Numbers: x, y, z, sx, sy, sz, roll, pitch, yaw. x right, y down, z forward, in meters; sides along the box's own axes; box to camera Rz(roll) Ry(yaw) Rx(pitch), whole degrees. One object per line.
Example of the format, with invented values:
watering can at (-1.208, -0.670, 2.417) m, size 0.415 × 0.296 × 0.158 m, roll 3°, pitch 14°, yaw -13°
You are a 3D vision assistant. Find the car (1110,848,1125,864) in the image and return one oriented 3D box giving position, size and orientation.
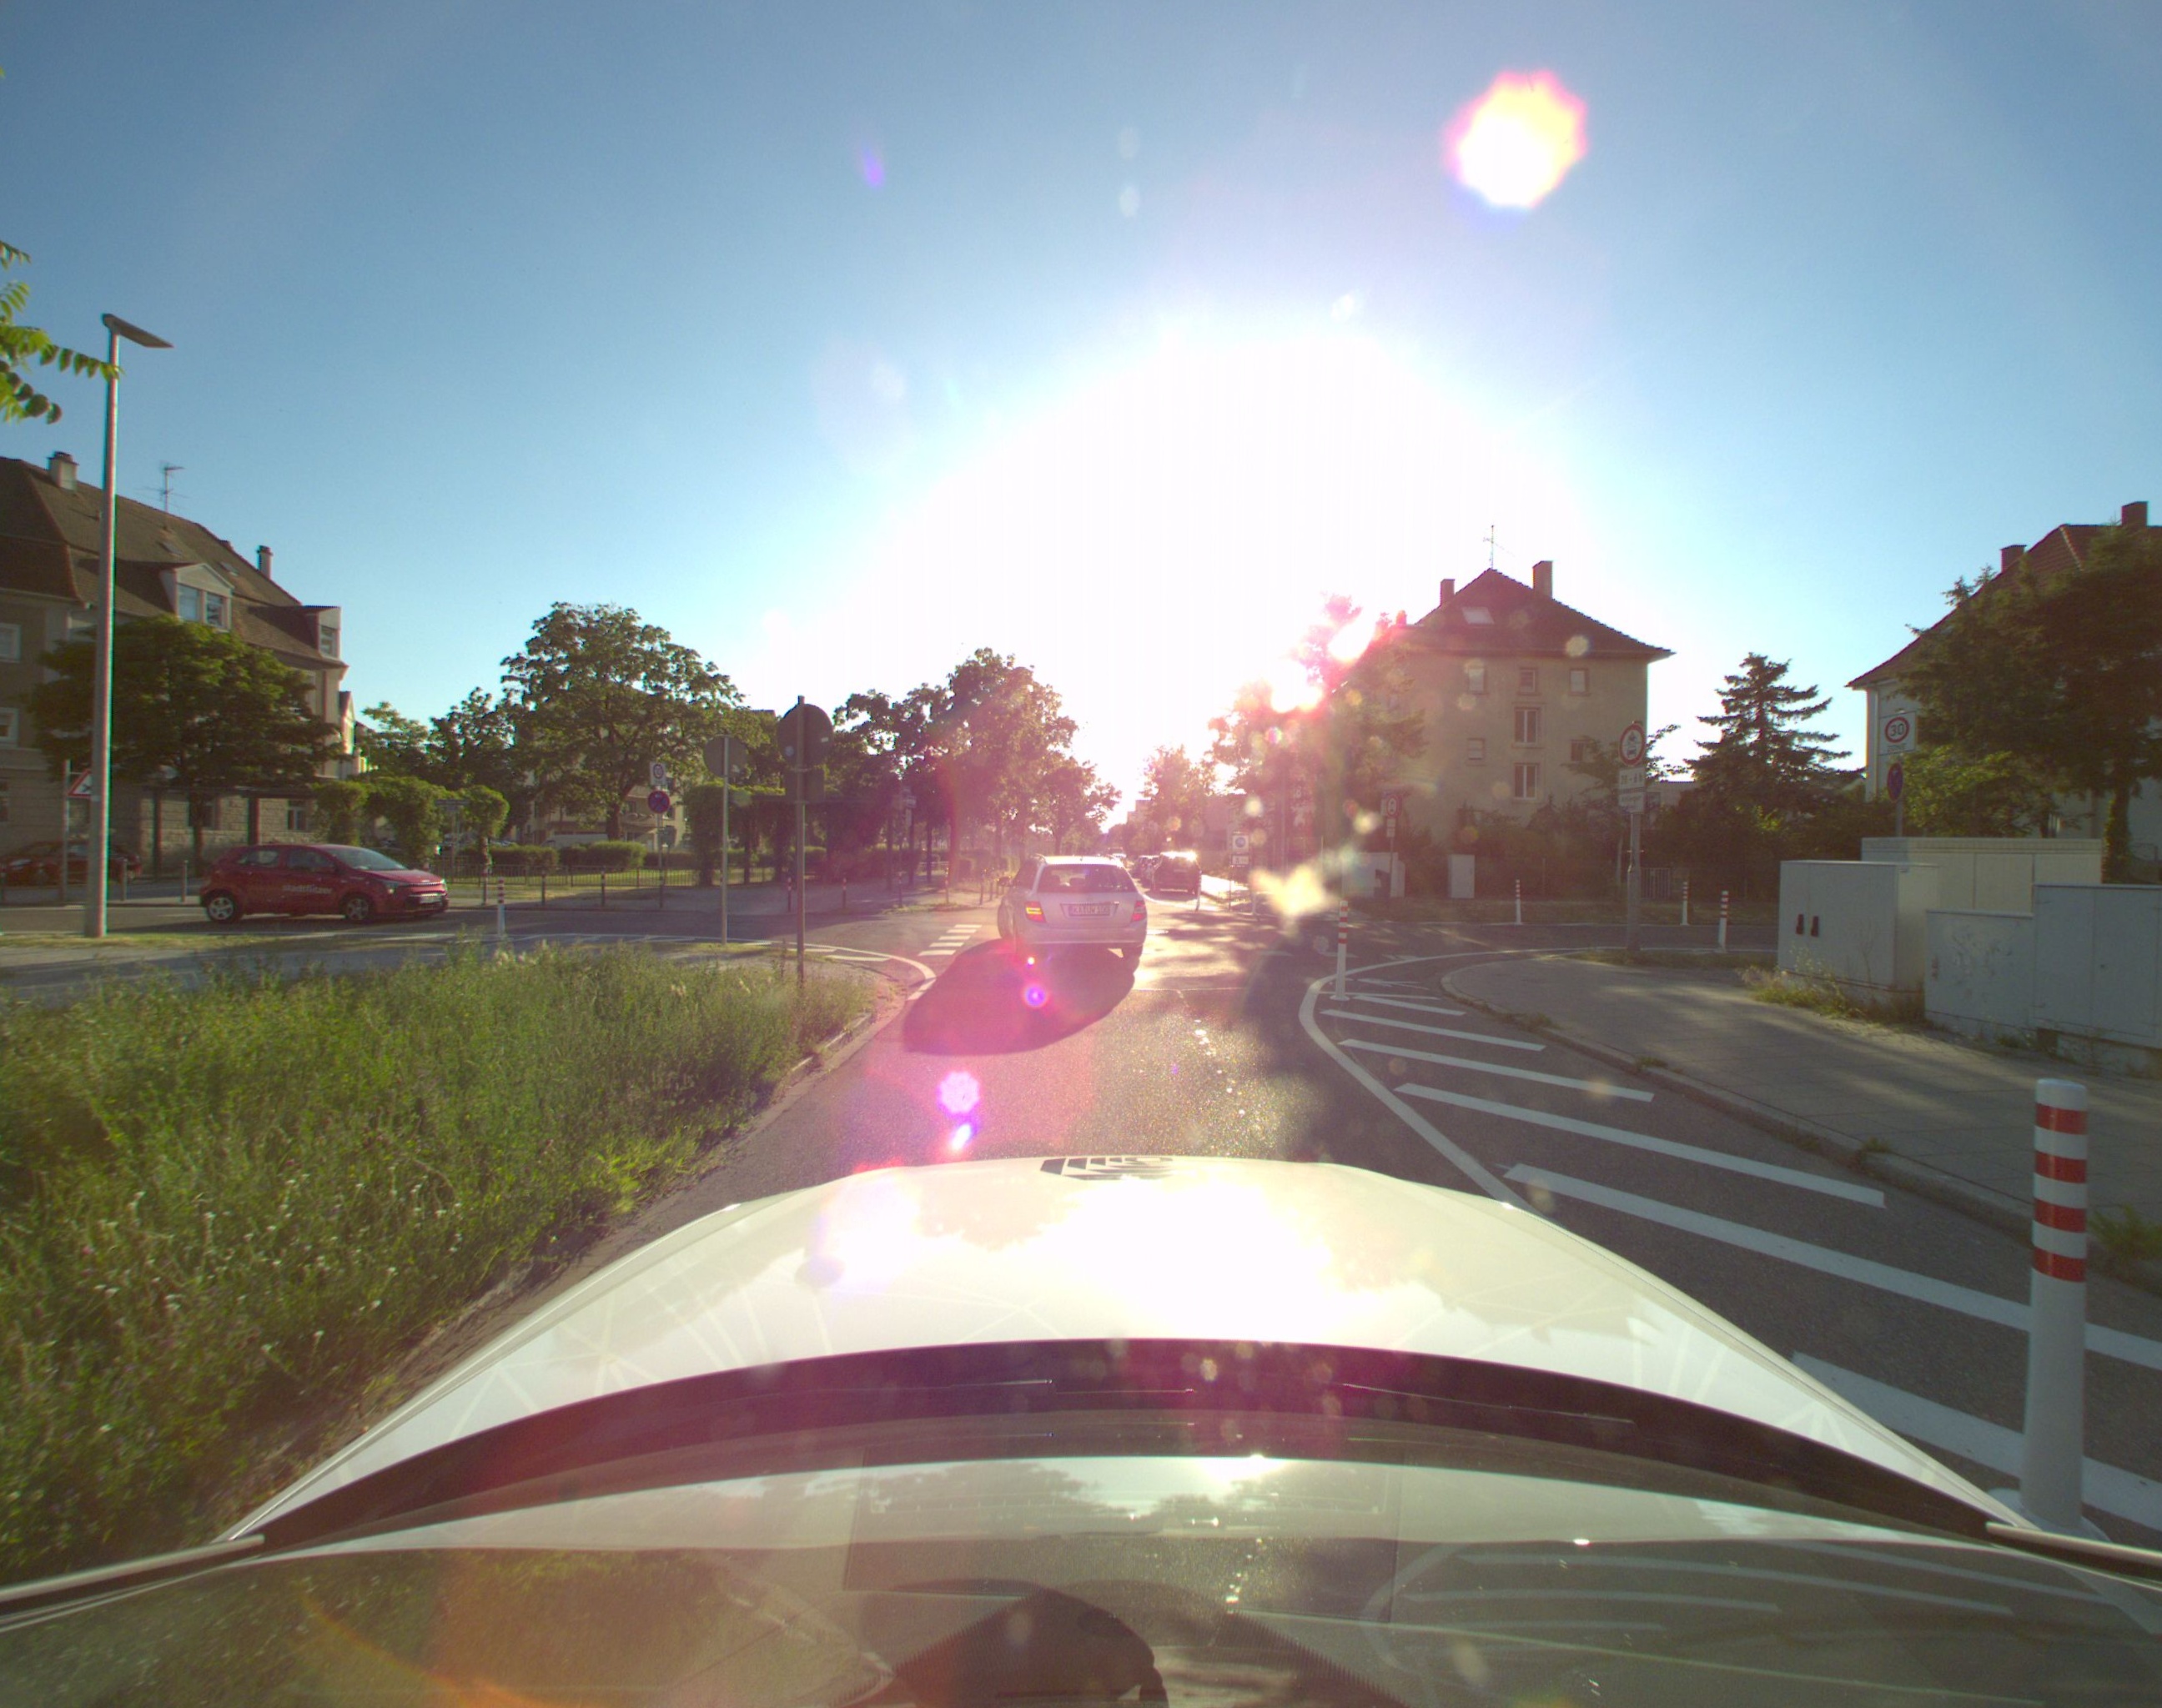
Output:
car at (4.823, 0.279, 108.552) m, size 1.986 × 2.123 × 4.002 m, roll 1°, pitch 0°, yaw 2°

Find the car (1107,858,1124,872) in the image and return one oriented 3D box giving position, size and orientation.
car at (3.995, 1.275, 94.563) m, size 1.725 × 1.518 × 3.758 m, roll 1°, pitch 0°, yaw -1°

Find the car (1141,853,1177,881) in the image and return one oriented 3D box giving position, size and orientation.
car at (4.423, 0.733, 46.760) m, size 1.724 × 1.518 × 3.760 m, roll 1°, pitch 0°, yaw 0°

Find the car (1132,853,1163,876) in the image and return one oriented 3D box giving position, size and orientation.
car at (4.583, 0.688, 56.169) m, size 1.760 × 1.526 × 3.771 m, roll 0°, pitch 0°, yaw -1°

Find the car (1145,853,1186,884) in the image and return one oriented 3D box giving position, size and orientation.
car at (4.308, 0.731, 41.851) m, size 1.759 × 1.526 × 3.773 m, roll 0°, pitch 0°, yaw 0°

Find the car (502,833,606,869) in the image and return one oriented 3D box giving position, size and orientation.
car at (-41.522, -0.212, 64.442) m, size 6.706 × 2.745 × 2.297 m, roll 1°, pitch 0°, yaw -28°

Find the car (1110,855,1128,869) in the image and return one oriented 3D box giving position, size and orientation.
car at (4.245, 0.911, 90.663) m, size 1.752 × 1.518 × 3.758 m, roll 1°, pitch 0°, yaw -1°

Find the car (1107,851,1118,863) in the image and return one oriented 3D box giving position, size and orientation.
car at (5.662, 0.608, 147.723) m, size 1.986 × 2.123 × 4.002 m, roll 1°, pitch 0°, yaw 2°

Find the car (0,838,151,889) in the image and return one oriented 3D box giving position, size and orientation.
car at (-38.661, 0.316, 30.917) m, size 1.799 × 1.741 × 4.090 m, roll 3°, pitch 0°, yaw 3°

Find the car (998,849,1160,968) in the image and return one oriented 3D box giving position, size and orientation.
car at (-0.219, 0.673, 12.277) m, size 1.816 × 1.473 × 4.203 m, roll 0°, pitch 0°, yaw -9°

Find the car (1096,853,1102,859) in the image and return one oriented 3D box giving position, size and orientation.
car at (5.245, 0.619, 238.273) m, size 1.859 × 1.618 × 4.000 m, roll 1°, pitch 0°, yaw 0°

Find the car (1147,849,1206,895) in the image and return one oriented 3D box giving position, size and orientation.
car at (3.786, 0.676, 32.929) m, size 1.811 × 1.641 × 4.215 m, roll 3°, pitch 0°, yaw 0°

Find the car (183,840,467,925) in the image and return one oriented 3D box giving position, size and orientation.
car at (-14.484, 0.519, 15.780) m, size 3.750 × 1.526 × 1.769 m, roll 0°, pitch 0°, yaw -2°
